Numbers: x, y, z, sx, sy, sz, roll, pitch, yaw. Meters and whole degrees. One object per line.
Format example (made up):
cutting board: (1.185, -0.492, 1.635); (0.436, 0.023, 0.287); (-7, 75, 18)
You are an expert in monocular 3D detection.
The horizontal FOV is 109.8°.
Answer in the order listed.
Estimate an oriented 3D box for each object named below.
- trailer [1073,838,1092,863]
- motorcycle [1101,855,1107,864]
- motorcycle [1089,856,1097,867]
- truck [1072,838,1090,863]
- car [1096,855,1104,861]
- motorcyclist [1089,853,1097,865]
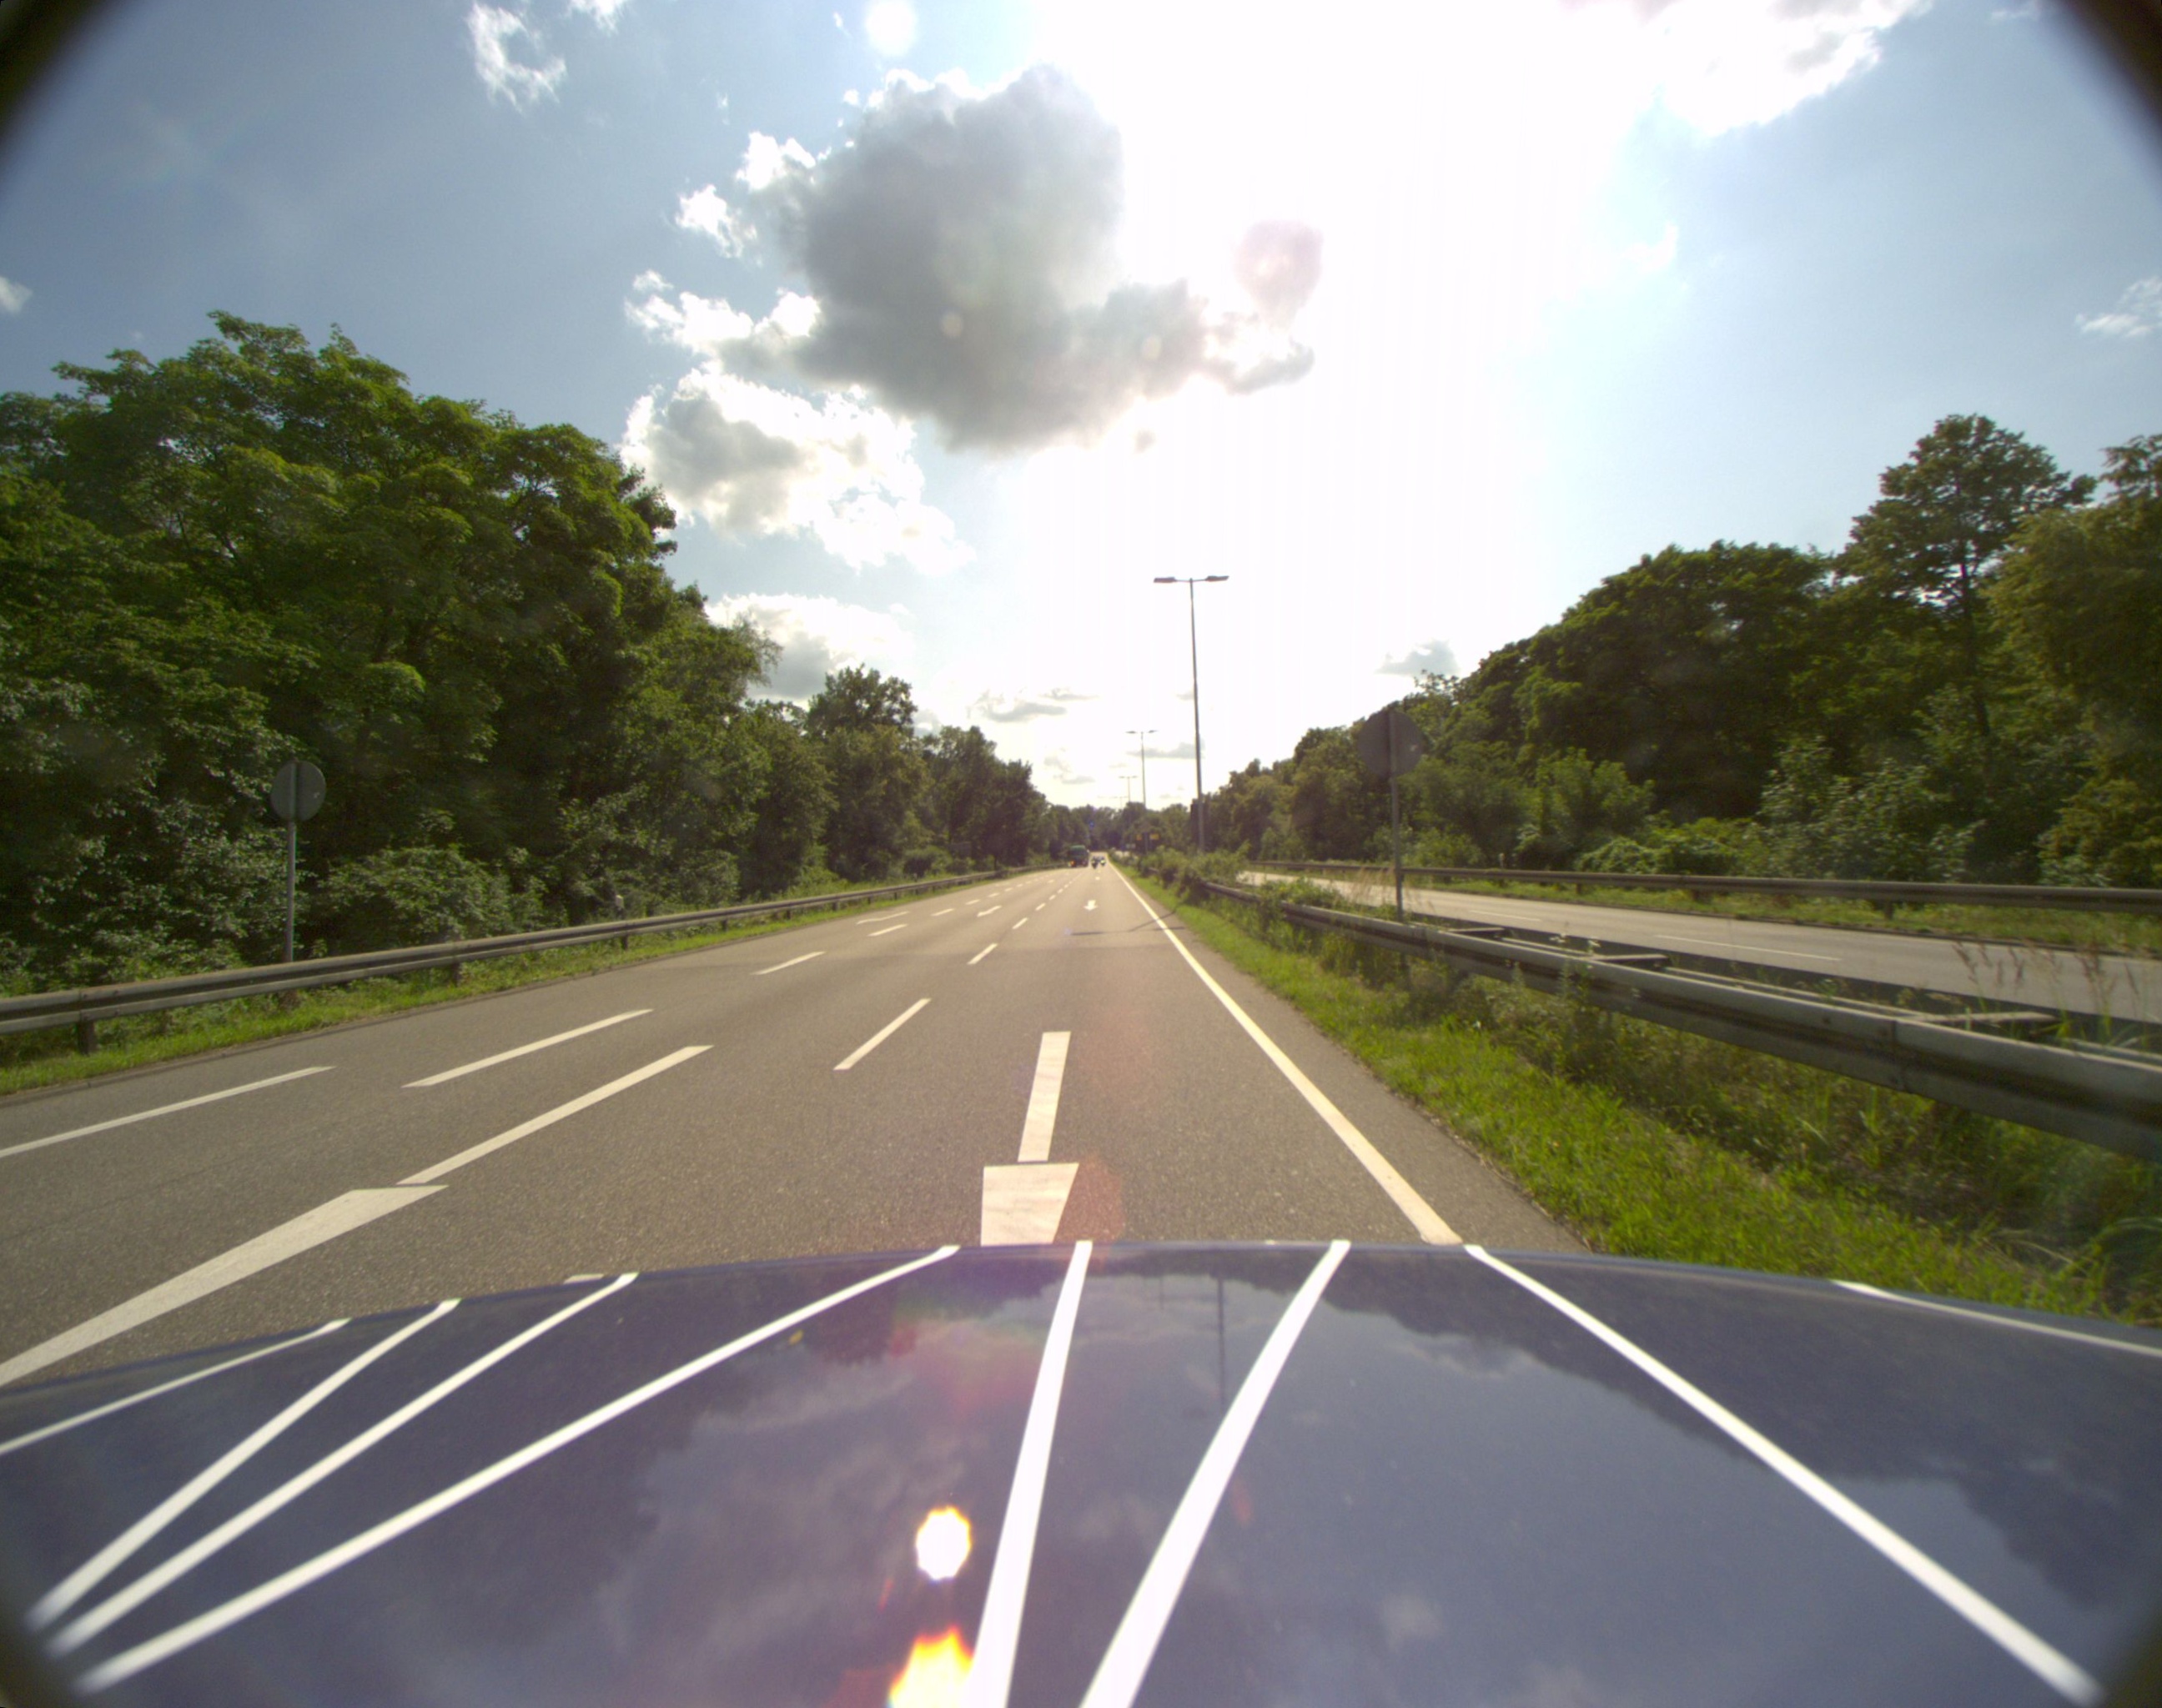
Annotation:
trailer: (0.279, -0.497, 131.568); (2.591, 3.870, 14.504); (-3, -1, 2)
motorcycle: (3.460, 0.899, 116.331); (0.867, 1.380, 2.370); (-2, -1, 1)
motorcycle: (1.554, 1.019, 98.807); (0.939, 1.375, 2.371); (-2, -1, 2)
truck: (0.070, -0.567, 124.621); (2.591, 3.870, 6.063); (-3, 0, 2)
car: (4.751, 0.923, 188.466); (1.735, 1.467, 4.048); (-2, -1, 2)
motorcyclist: (1.555, 0.643, 99.075); (0.939, 1.581, 1.083); (-2, 0, 3)
